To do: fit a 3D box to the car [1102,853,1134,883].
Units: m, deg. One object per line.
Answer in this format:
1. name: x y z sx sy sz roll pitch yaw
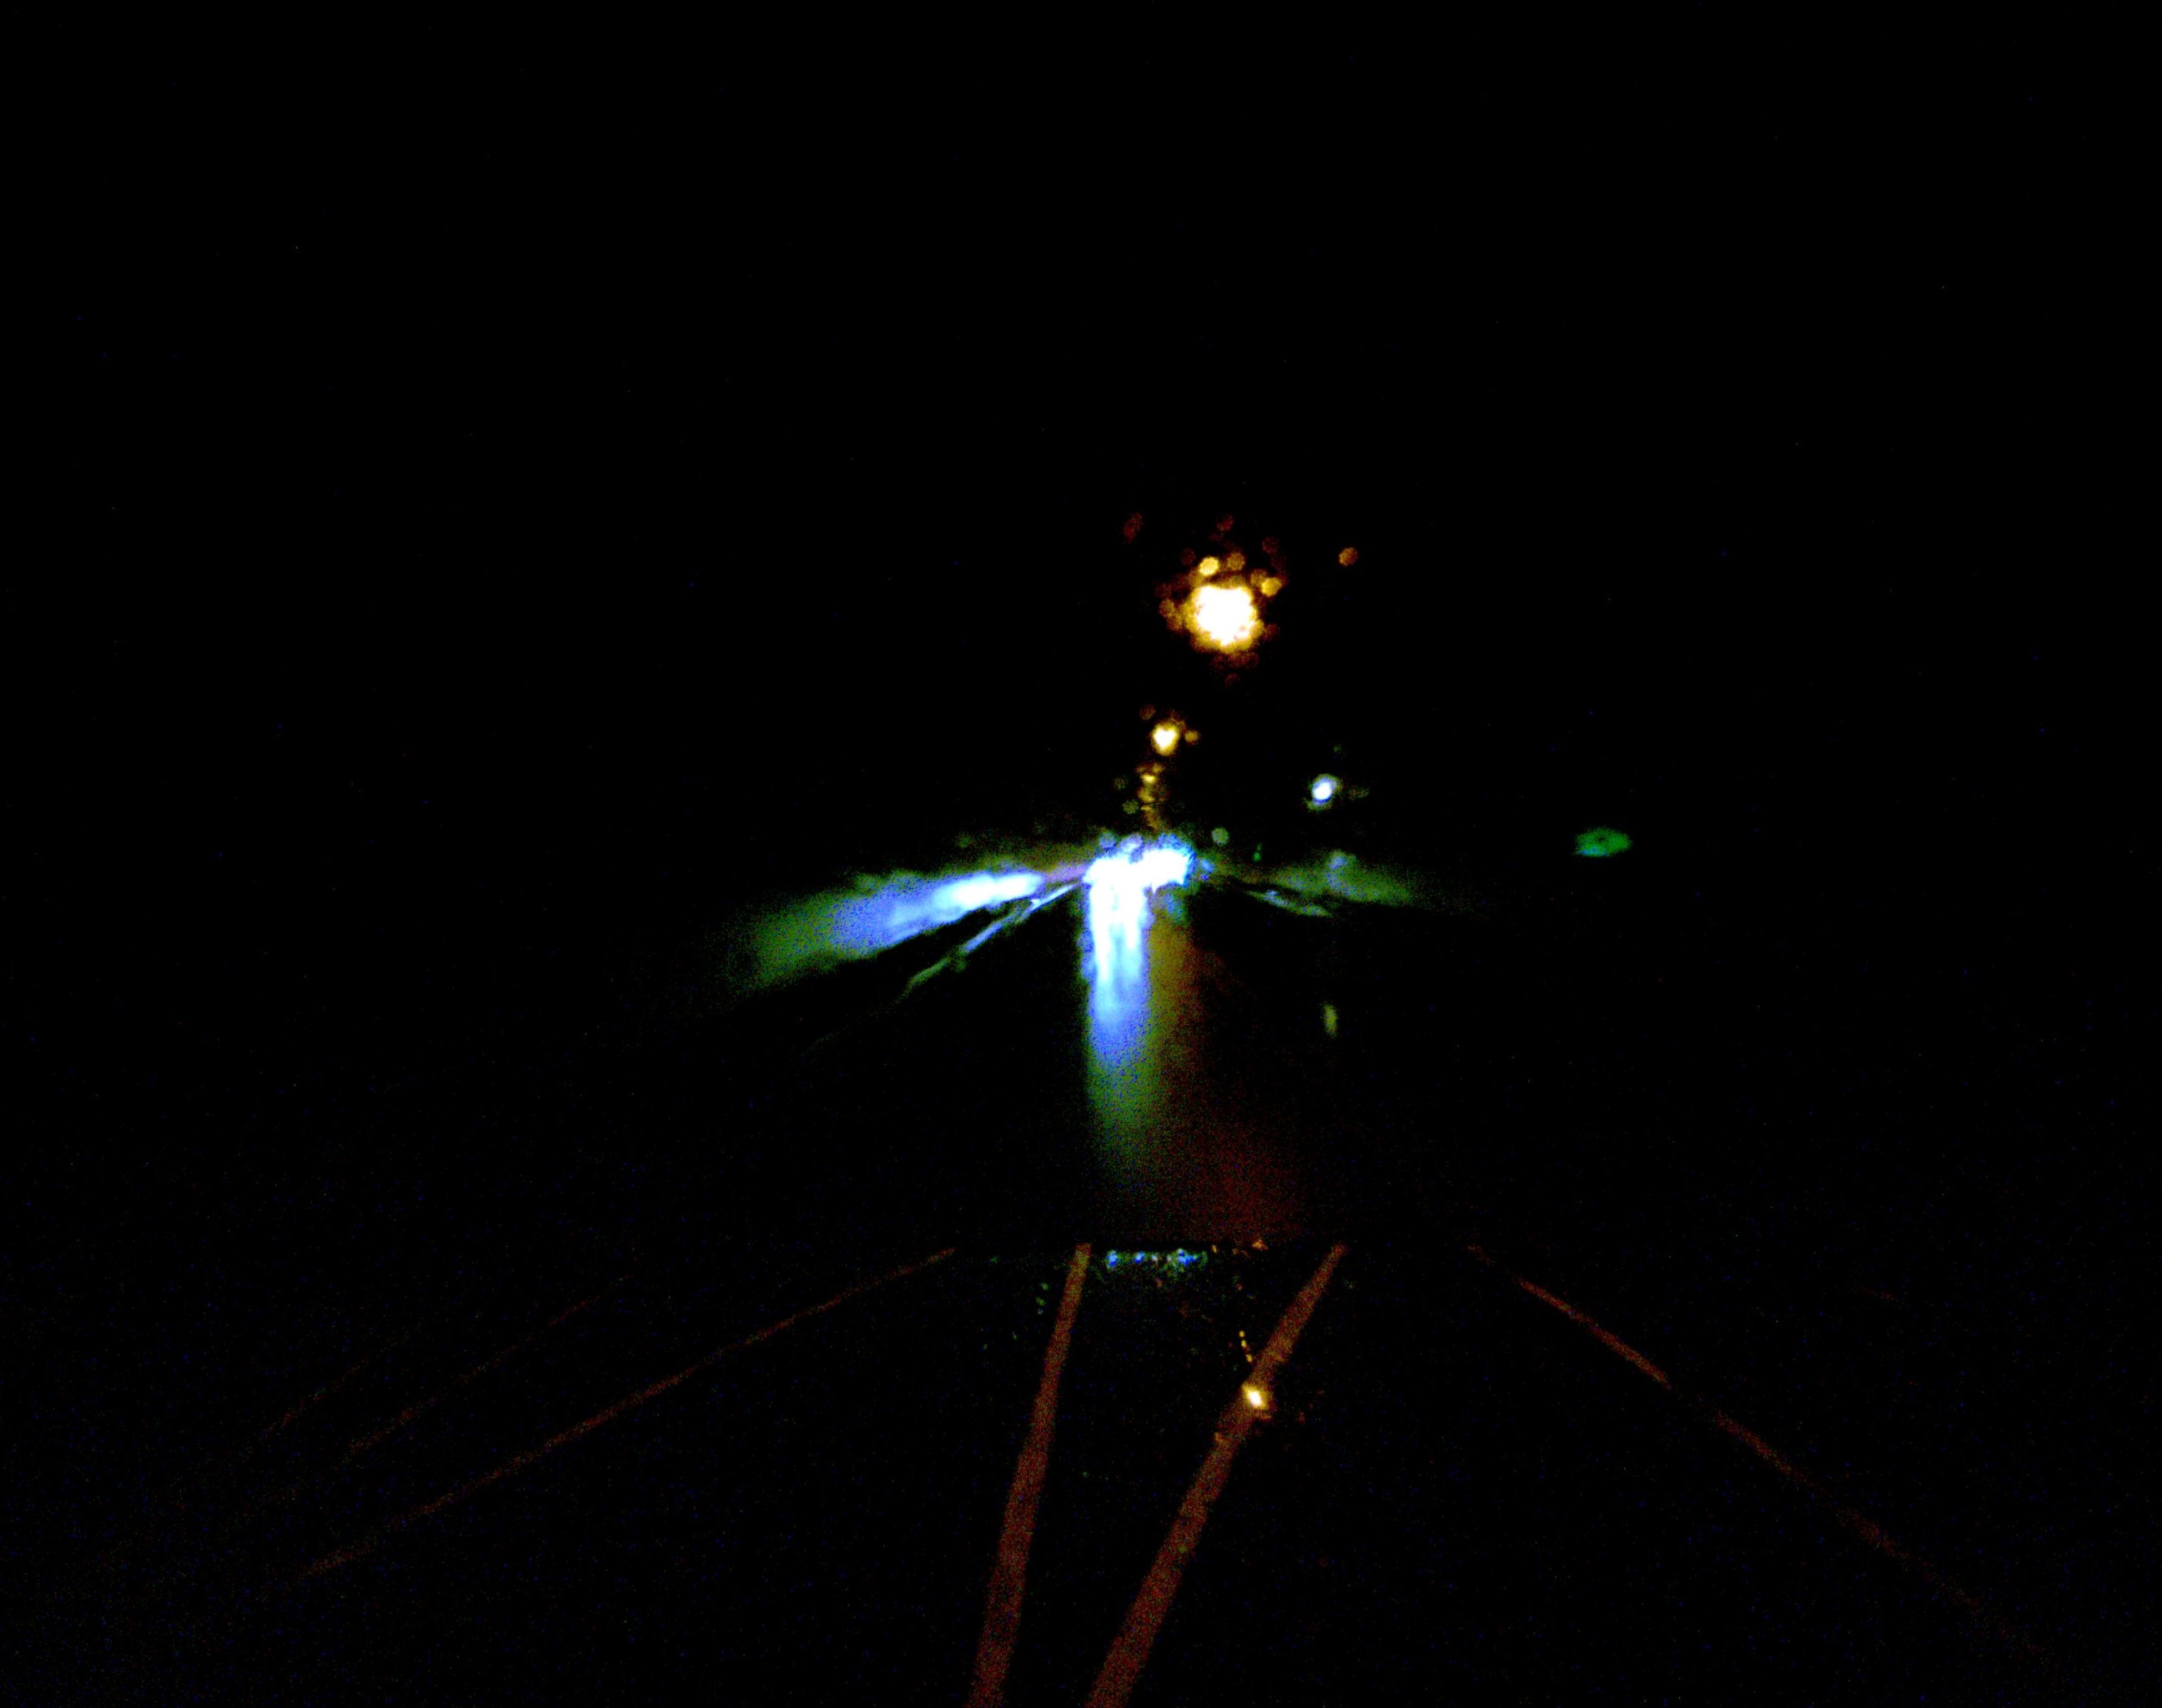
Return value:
1. car: 2.180 0.762 44.343 1.729 1.595 4.001 -2 0 4
